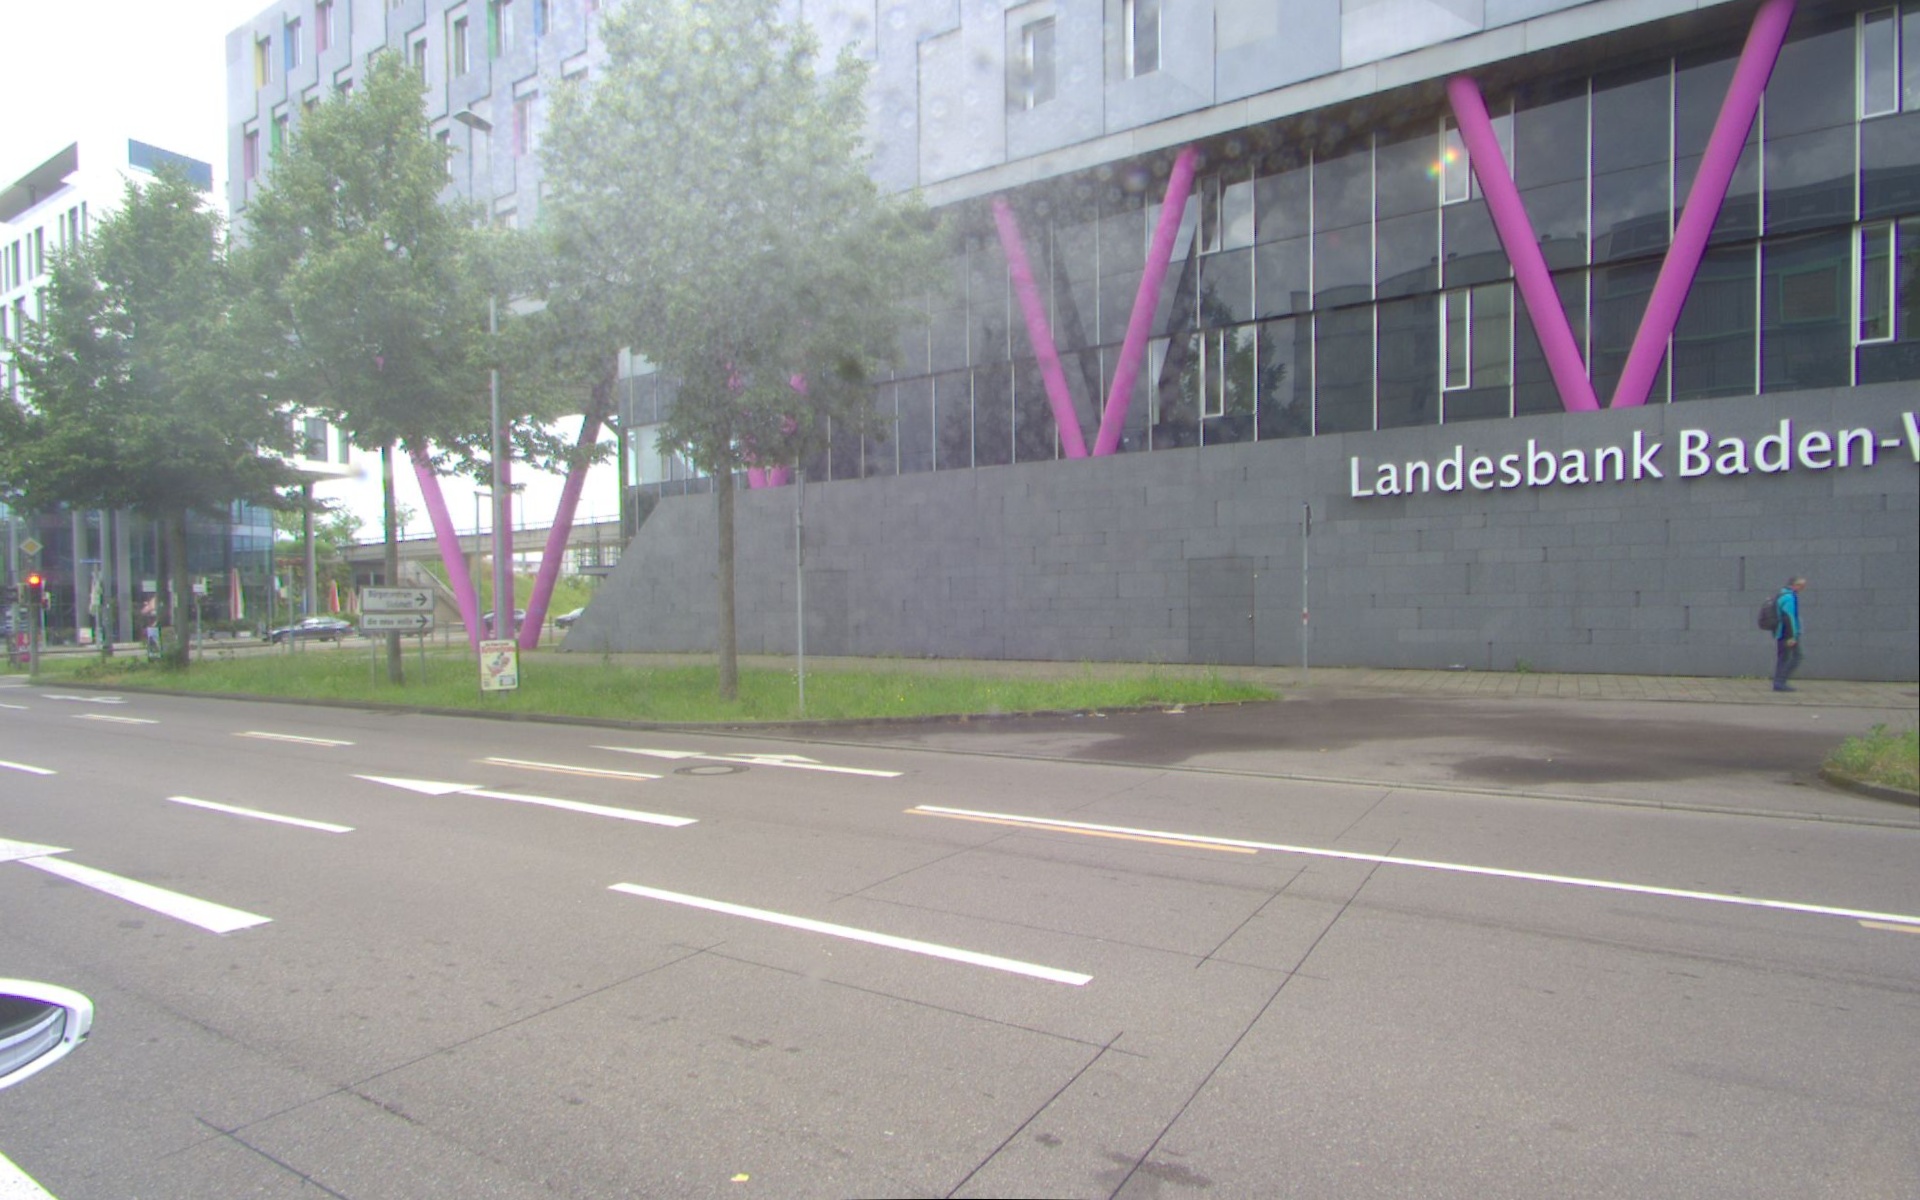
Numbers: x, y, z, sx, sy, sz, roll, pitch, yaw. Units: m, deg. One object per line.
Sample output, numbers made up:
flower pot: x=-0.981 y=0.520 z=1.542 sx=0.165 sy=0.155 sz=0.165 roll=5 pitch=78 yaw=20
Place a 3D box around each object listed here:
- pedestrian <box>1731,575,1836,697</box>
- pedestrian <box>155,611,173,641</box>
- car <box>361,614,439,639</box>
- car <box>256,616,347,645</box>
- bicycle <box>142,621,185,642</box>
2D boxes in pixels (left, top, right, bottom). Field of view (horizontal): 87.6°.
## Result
pedestrian: x=12.713 y=0.533 z=15.511 sx=1.121 sy=1.794 sz=1.049 roll=0 pitch=1 yaw=33
pedestrian: x=-44.003 y=1.448 z=55.357 sx=0.610 sy=1.625 sz=0.613 roll=0 pitch=1 yaw=34
car: x=-36.243 y=1.698 z=64.931 sx=1.734 sy=1.474 sz=4.070 roll=0 pitch=0 yaw=34
car: x=-39.175 y=1.776 z=59.658 sx=1.734 sy=1.636 sz=4.240 roll=0 pitch=0 yaw=34
bicycle: x=-44.015 y=1.716 z=55.343 sx=0.609 sy=1.100 sz=1.787 roll=0 pitch=0 yaw=34
